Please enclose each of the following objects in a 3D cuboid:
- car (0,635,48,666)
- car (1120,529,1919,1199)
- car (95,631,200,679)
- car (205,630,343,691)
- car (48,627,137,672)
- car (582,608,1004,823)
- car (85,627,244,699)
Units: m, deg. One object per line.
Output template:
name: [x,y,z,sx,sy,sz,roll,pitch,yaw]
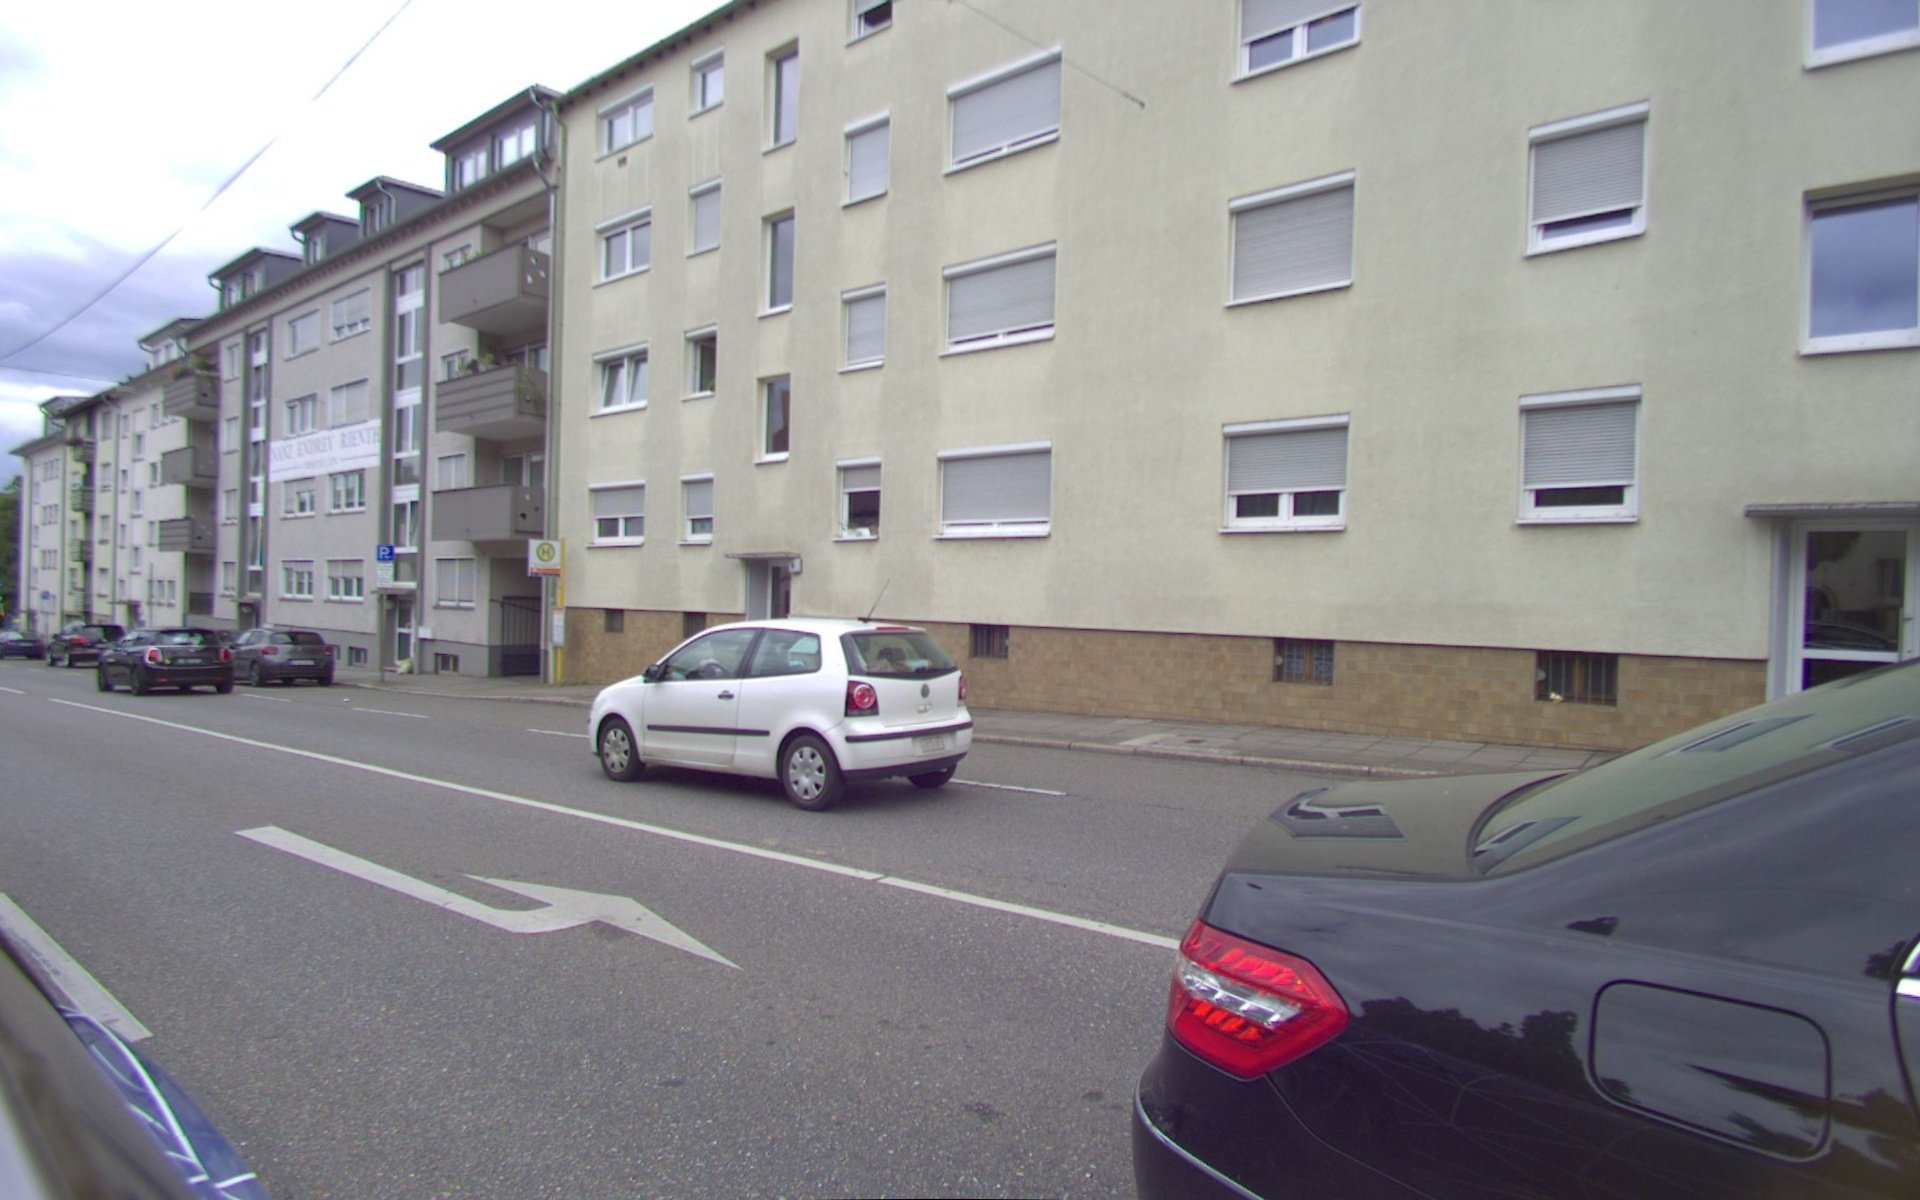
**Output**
car: [-46.251,2.450,49.451,3.752,1.414,1.755,-1,-3,36]
car: [2.705,0.645,0.706,4.840,1.440,1.973,-1,-2,41]
car: [-26.246,1.751,32.672,3.533,1.414,1.755,-1,-3,36]
car: [-17.594,1.506,25.922,3.680,1.422,1.755,-1,-3,36]
car: [-33.147,1.869,38.648,3.533,1.613,1.755,-1,-3,36]
car: [-1.536,0.836,8.769,3.593,1.494,1.574,-1,-2,37]
car: [-17.326,1.316,22.016,3.637,1.414,1.755,-1,-3,36]
